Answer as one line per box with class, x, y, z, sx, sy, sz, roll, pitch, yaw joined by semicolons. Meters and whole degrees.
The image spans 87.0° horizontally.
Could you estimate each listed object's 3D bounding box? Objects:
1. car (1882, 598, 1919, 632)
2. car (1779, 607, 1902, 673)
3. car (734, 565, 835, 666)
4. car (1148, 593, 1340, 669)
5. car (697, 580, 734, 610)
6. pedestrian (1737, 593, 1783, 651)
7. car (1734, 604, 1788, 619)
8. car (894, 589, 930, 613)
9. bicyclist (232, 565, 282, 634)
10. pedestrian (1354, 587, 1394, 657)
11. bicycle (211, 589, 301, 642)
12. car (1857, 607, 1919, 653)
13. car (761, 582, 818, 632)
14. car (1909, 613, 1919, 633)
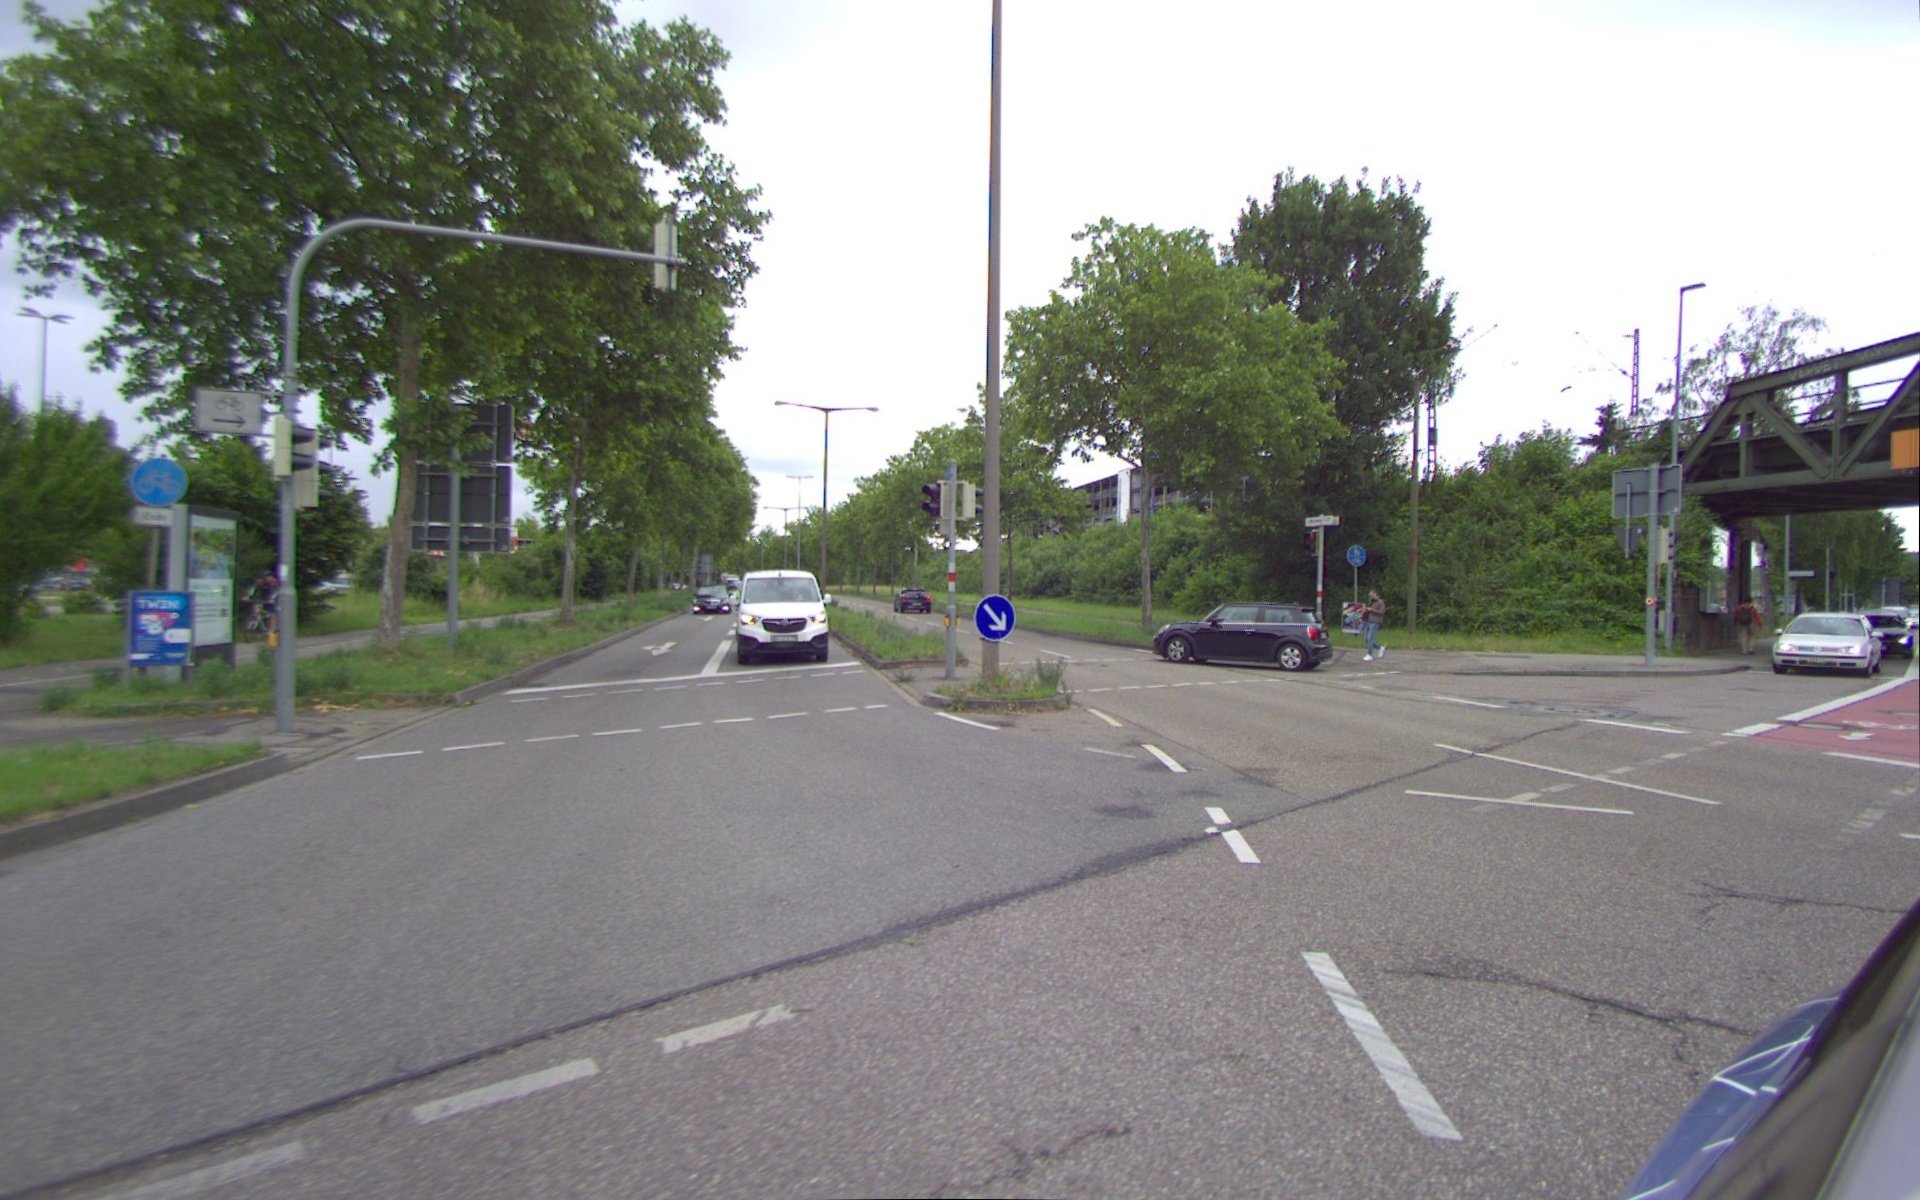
car;54.445;0.842;58.218;1.988;1.872;4.042;1;0;41
car;20.798;0.891;23.862;3.872;1.442;1.724;1;-1;-42
car;-3.726;0.238;20.967;1.841;1.851;4.430;-1;1;-12
car;6.194;0.639;22.140;3.742;1.450;1.667;2;-1;30
car;-13.041;-0.282;54.108;1.661;1.501;4.073;1;1;-11
pedestrian;24.938;0.675;31.565;0.862;1.782;0.783;1;0;17
car;83.361;1.187;105.313;1.711;1.450;4.188;1;-3;-45
car;-2.690;0.073;56.189;1.619;1.297;3.424;0;-1;-9
bicyclist;-16.162;-0.019;23.272;0.572;1.539;0.758;1;0;7
pedestrian;10.041;0.523;24.558;0.767;1.661;0.740;1;0;15
bicycle;-16.177;0.335;23.299;0.572;1.163;1.891;1;1;7
car;30.700;0.953;33.100;1.832;1.442;3.936;0;-1;44
car;-5.571;0.191;32.870;1.661;1.501;4.073;1;1;-11
car;71.272;1.706;74.638;1.832;1.442;3.936;0;-1;44
